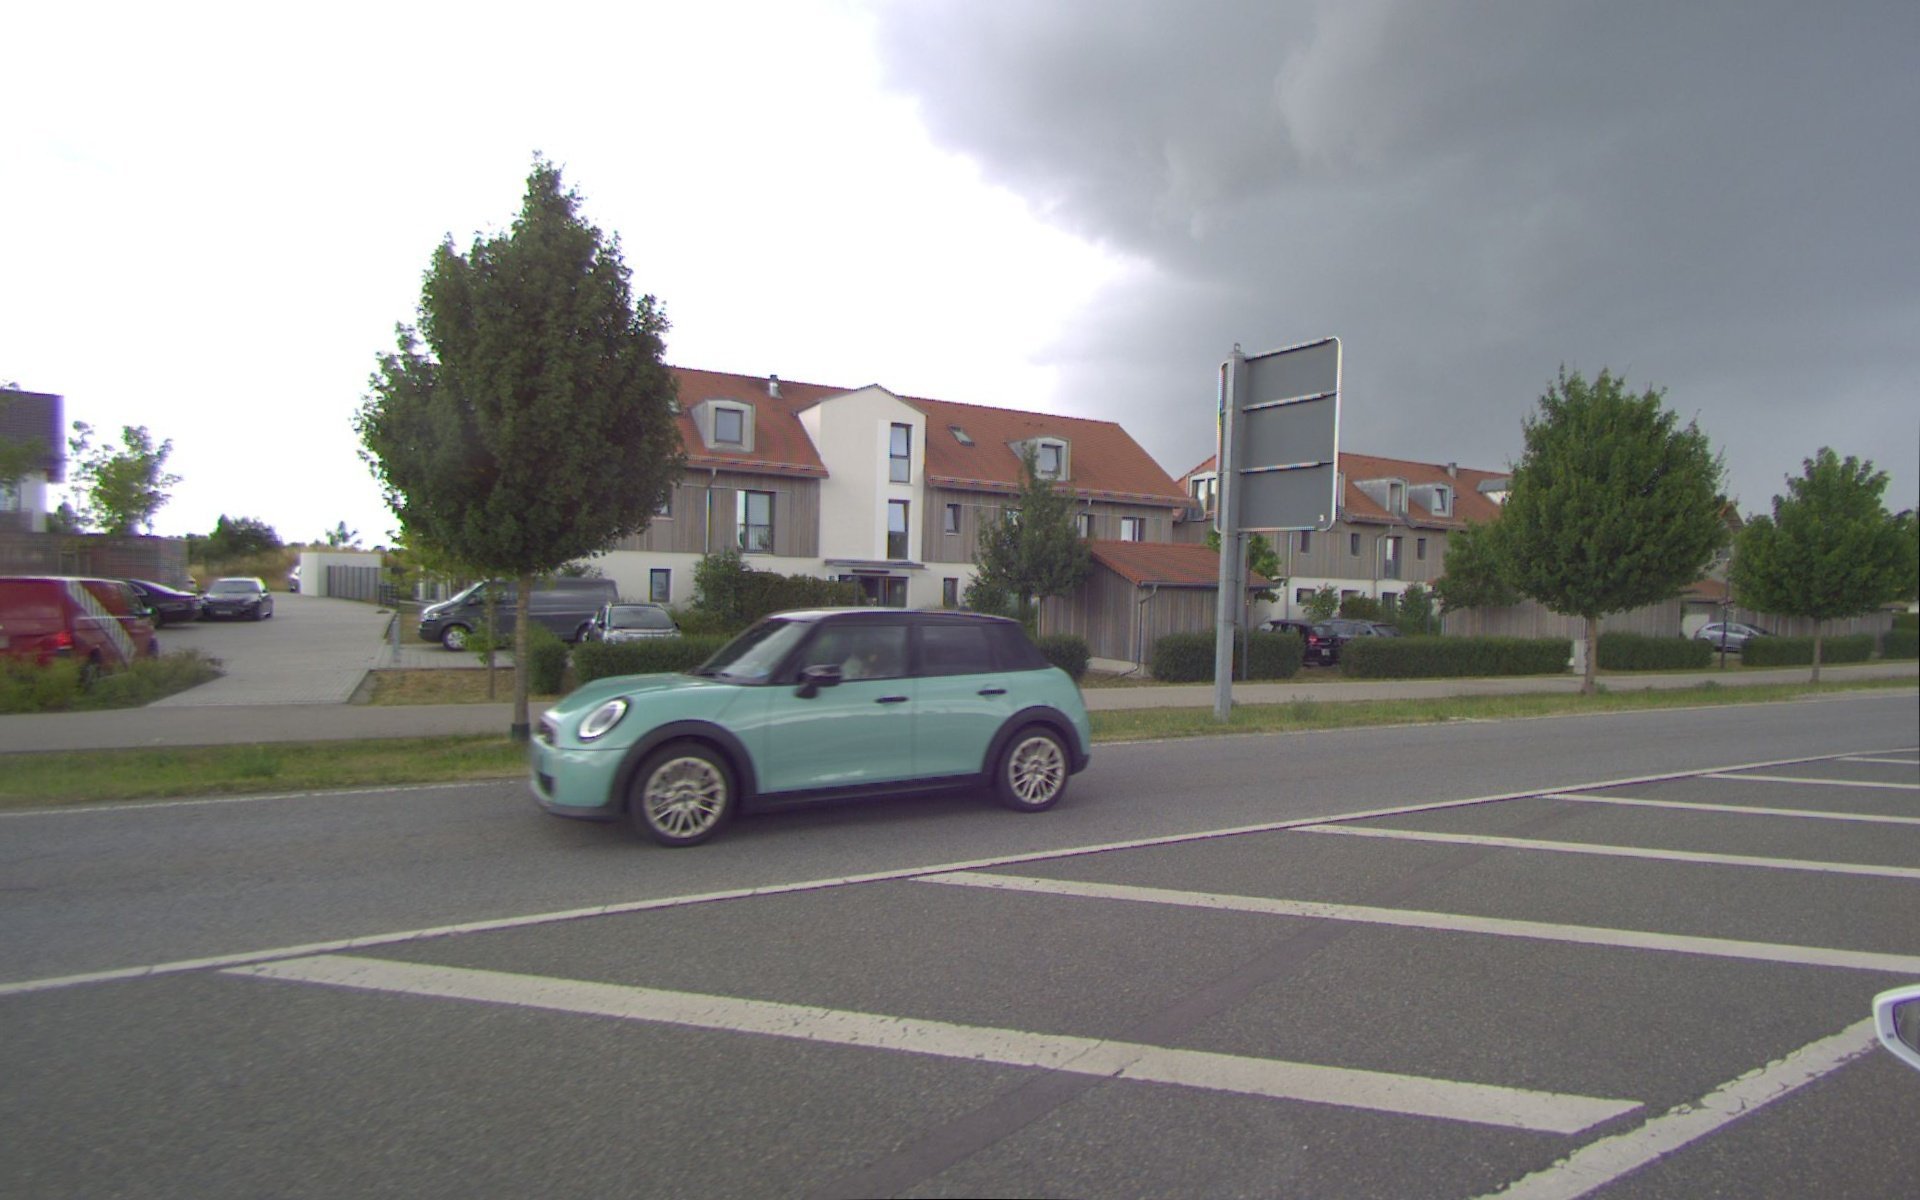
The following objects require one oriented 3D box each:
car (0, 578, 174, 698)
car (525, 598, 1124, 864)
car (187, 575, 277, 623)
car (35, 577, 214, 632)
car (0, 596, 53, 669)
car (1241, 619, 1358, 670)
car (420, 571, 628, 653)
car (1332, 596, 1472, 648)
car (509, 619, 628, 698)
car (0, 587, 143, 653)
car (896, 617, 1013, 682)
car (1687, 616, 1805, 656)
[{"bbox_3d":[-15.701,0.581,17.593,1.880,1.840,4.892,1,0,-24],"label":"car"},{"bbox_3d":[-0.913,0.754,7.297,3.953,1.463,1.762,1,0,-30],"label":"car"},{"bbox_3d":[-25.763,-0.024,35.680,1.975,1.607,3.972,1,0,-27],"label":"car"},{"bbox_3d":[-25.377,0.129,30.699,3.951,1.548,1.561,1,3,-29],"label":"car"},{"bbox_3d":[-20.778,0.609,19.808,3.953,1.439,1.867,1,0,-30],"label":"car"},{"bbox_3d":[11.052,1.403,32.918,1.545,1.509,3.498,1,0,-29],"label":"car"},{"bbox_3d":[-12.117,0.334,28.055,5.133,2.041,1.986,1,4,-27],"label":"car"},{"bbox_3d":[14.864,0.724,33.960,1.975,1.639,3.971,1,0,-28],"label":"car"},{"bbox_3d":[-8.719,1.192,22.104,1.882,1.449,4.885,1,0,-28],"label":"car"},{"bbox_3d":[-22.505,0.472,24.272,3.953,1.528,1.984,1,0,-30],"label":"car"},{"bbox_3d":[-0.210,1.246,26.361,1.545,1.509,3.498,1,0,-29],"label":"car"},{"bbox_3d":[37.804,1.704,48.430,1.975,1.577,3.970,1,3,-28],"label":"car"}]
